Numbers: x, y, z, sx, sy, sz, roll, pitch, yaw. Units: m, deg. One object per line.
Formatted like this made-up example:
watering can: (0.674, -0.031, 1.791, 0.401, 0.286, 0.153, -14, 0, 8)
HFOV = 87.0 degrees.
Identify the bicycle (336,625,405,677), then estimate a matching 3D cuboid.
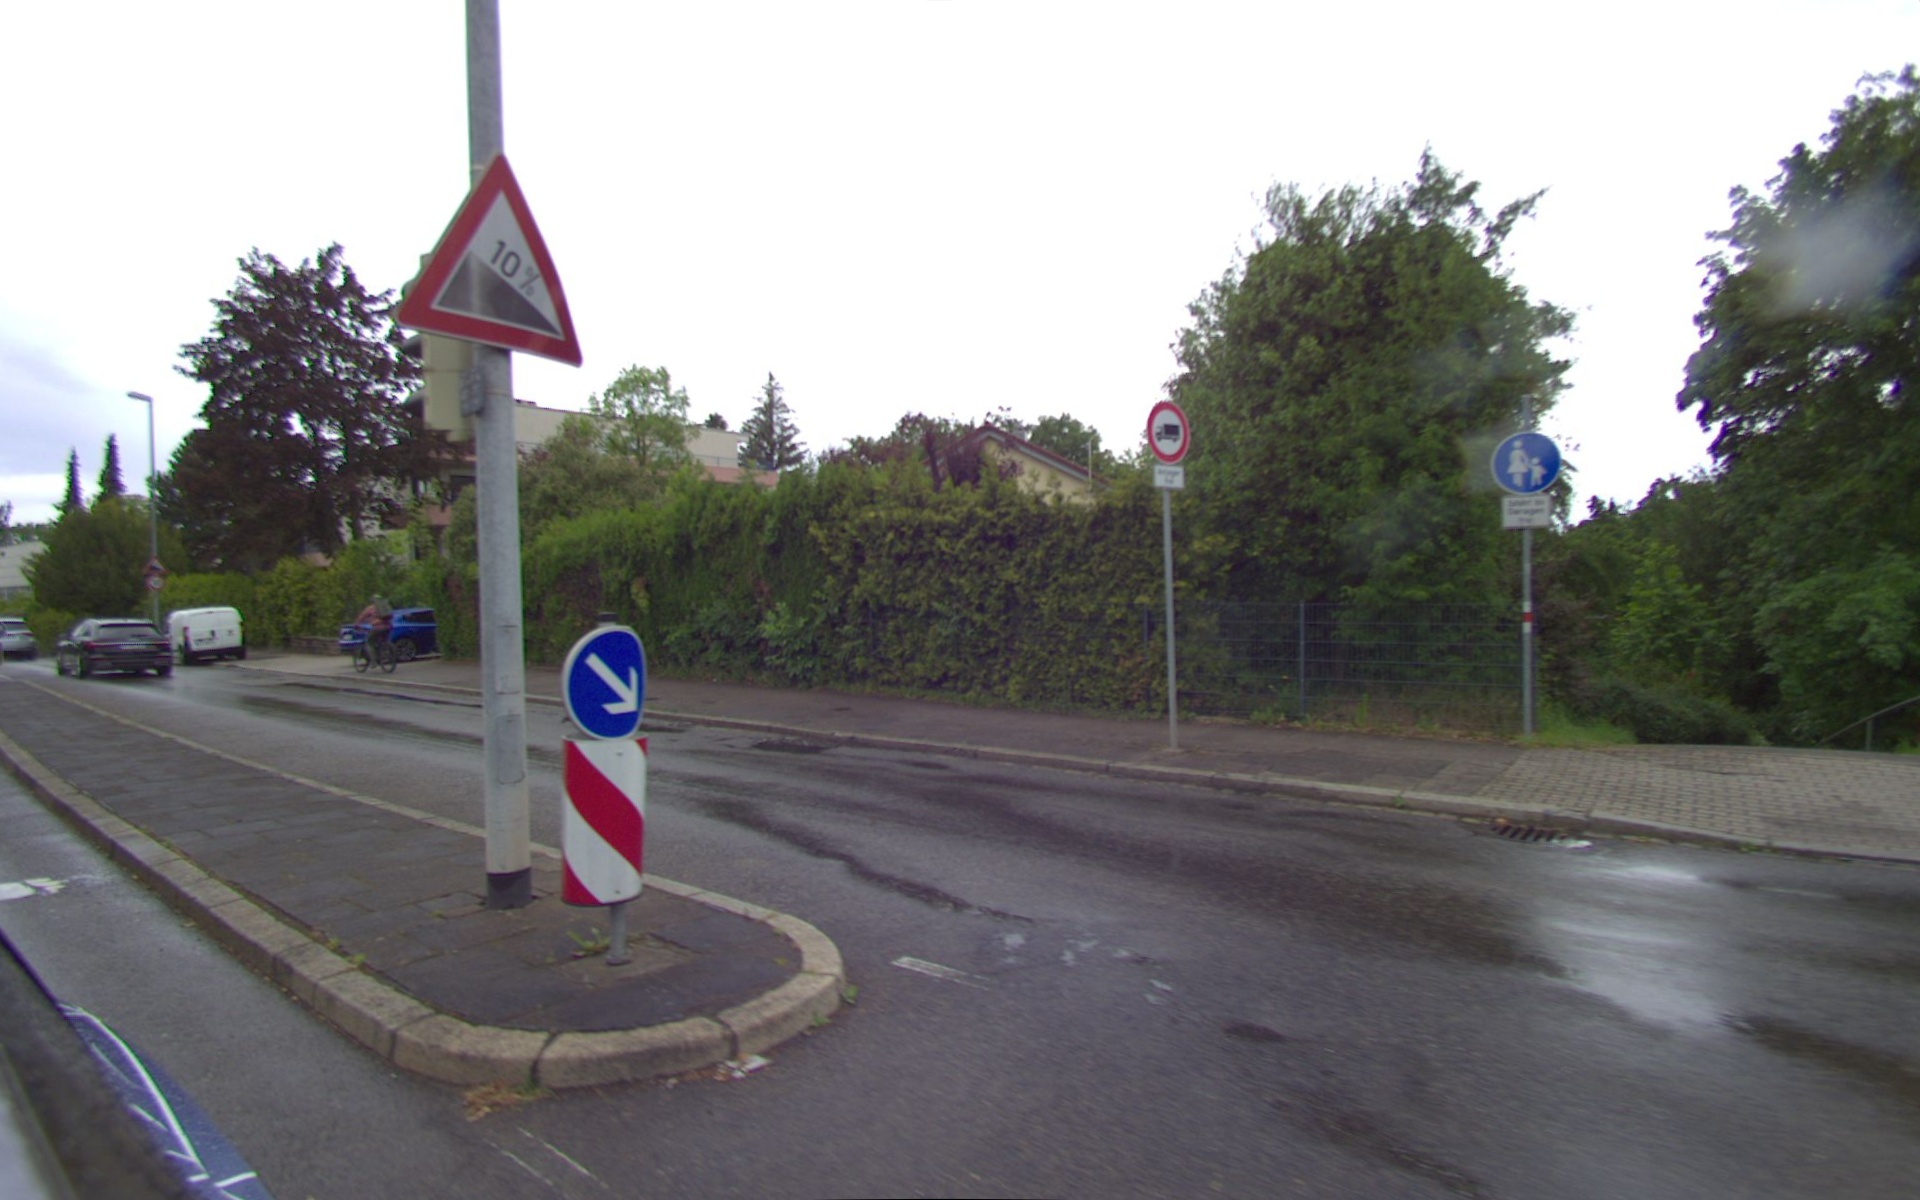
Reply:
bicycle: (-13.386, 1.133, 22.958, 1.989, 1.094, 0.739, -1, 2, 42)

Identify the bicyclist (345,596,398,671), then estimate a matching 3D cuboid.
bicyclist: (-13.314, 0.751, 22.890, 0.868, 1.624, 0.756, -1, 1, 42)

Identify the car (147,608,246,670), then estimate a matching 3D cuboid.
car: (-24.618, 1.247, 32.578, 3.977, 1.720, 1.683, -2, 3, 41)

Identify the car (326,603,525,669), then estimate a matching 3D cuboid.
car: (-14.562, 0.947, 27.787, 1.802, 1.372, 4.442, -4, 1, 37)

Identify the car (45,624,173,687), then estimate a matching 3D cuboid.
car: (-21.884, 1.361, 25.971, 4.552, 1.448, 1.720, -1, -1, 40)

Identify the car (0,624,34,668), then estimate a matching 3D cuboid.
car: (-39.829, 1.909, 41.589, 4.477, 1.729, 2.020, -2, -2, 40)
